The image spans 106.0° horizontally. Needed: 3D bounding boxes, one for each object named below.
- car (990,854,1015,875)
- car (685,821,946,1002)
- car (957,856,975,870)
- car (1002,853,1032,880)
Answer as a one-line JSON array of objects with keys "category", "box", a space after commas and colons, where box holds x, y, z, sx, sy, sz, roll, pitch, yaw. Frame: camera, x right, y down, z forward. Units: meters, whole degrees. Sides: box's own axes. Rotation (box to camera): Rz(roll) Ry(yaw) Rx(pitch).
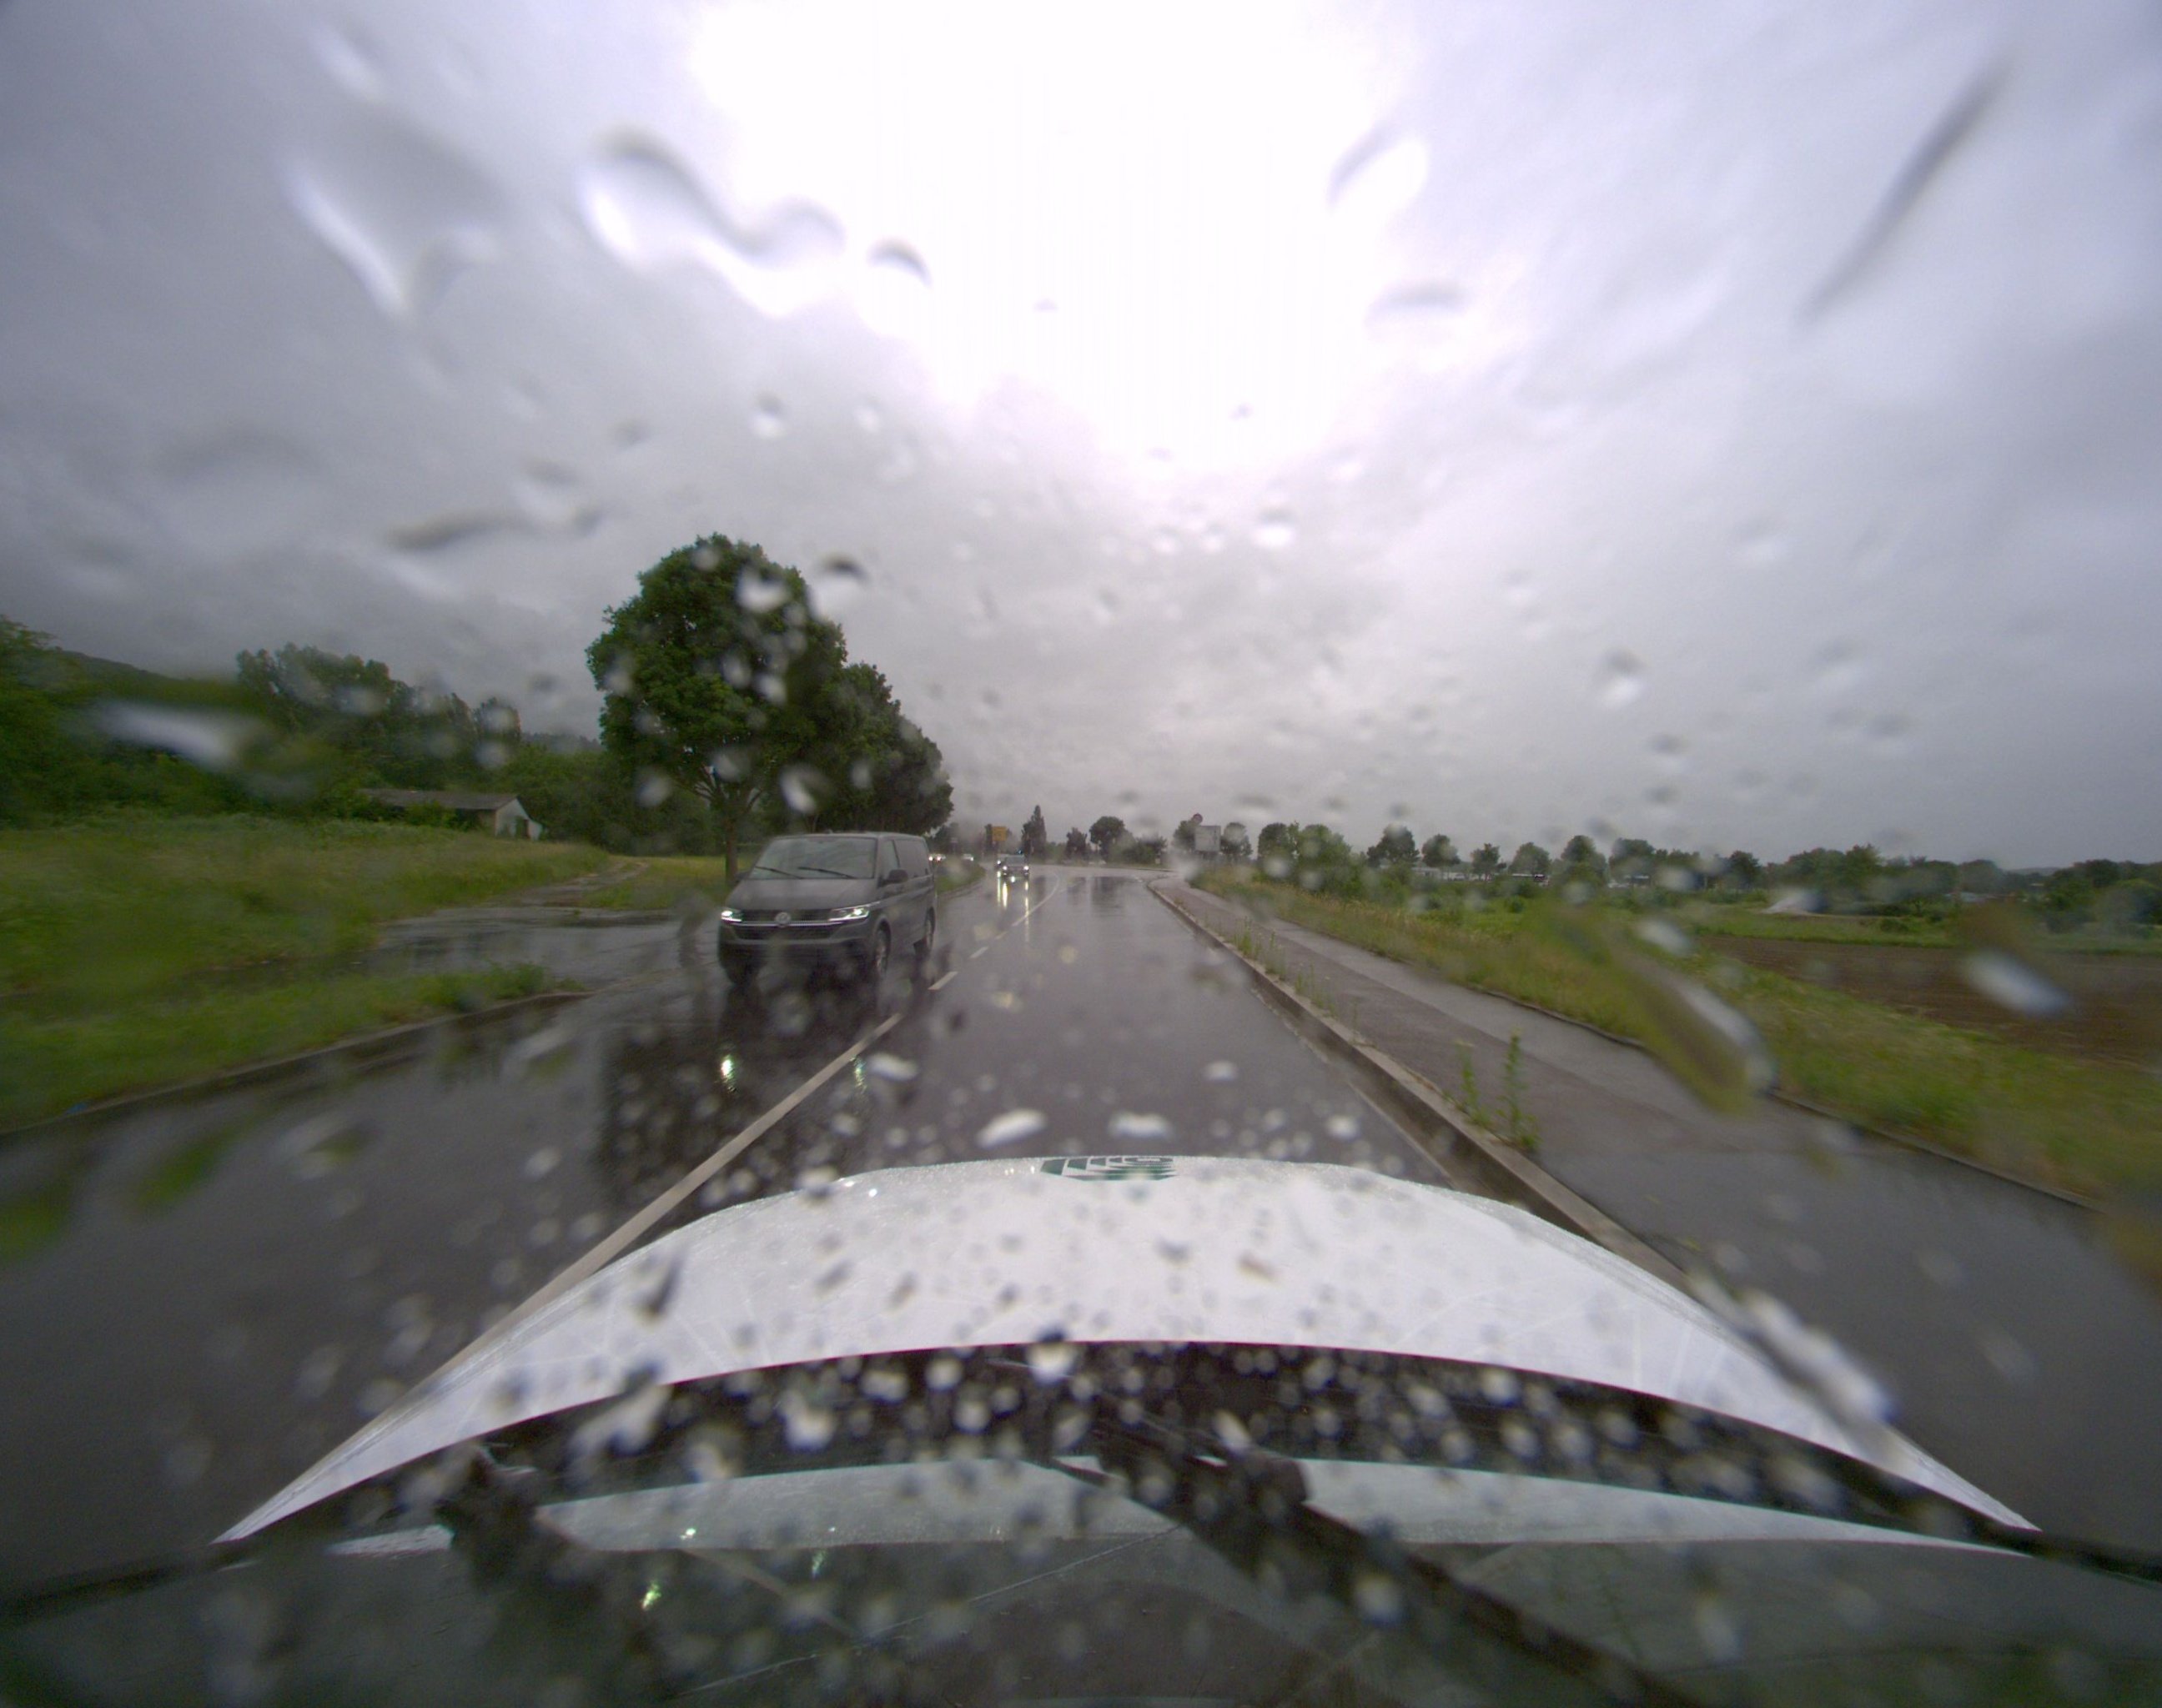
[{"category": "car", "box": [-8.302, 1.122, 85.953, 1.996, 2.013, 3.982, 4, 0, -13]}, {"category": "car", "box": [-3.334, 0.641, 11.453, 1.987, 1.972, 4.957, -1, 0, 0]}, {"category": "car", "box": [-18.013, 1.378, 127.403, 2.000, 2.013, 3.973, 4, 0, -21]}, {"category": "car", "box": [-4.427, 0.819, 55.829, 1.902, 1.721, 3.992, -2, 0, -6]}]
